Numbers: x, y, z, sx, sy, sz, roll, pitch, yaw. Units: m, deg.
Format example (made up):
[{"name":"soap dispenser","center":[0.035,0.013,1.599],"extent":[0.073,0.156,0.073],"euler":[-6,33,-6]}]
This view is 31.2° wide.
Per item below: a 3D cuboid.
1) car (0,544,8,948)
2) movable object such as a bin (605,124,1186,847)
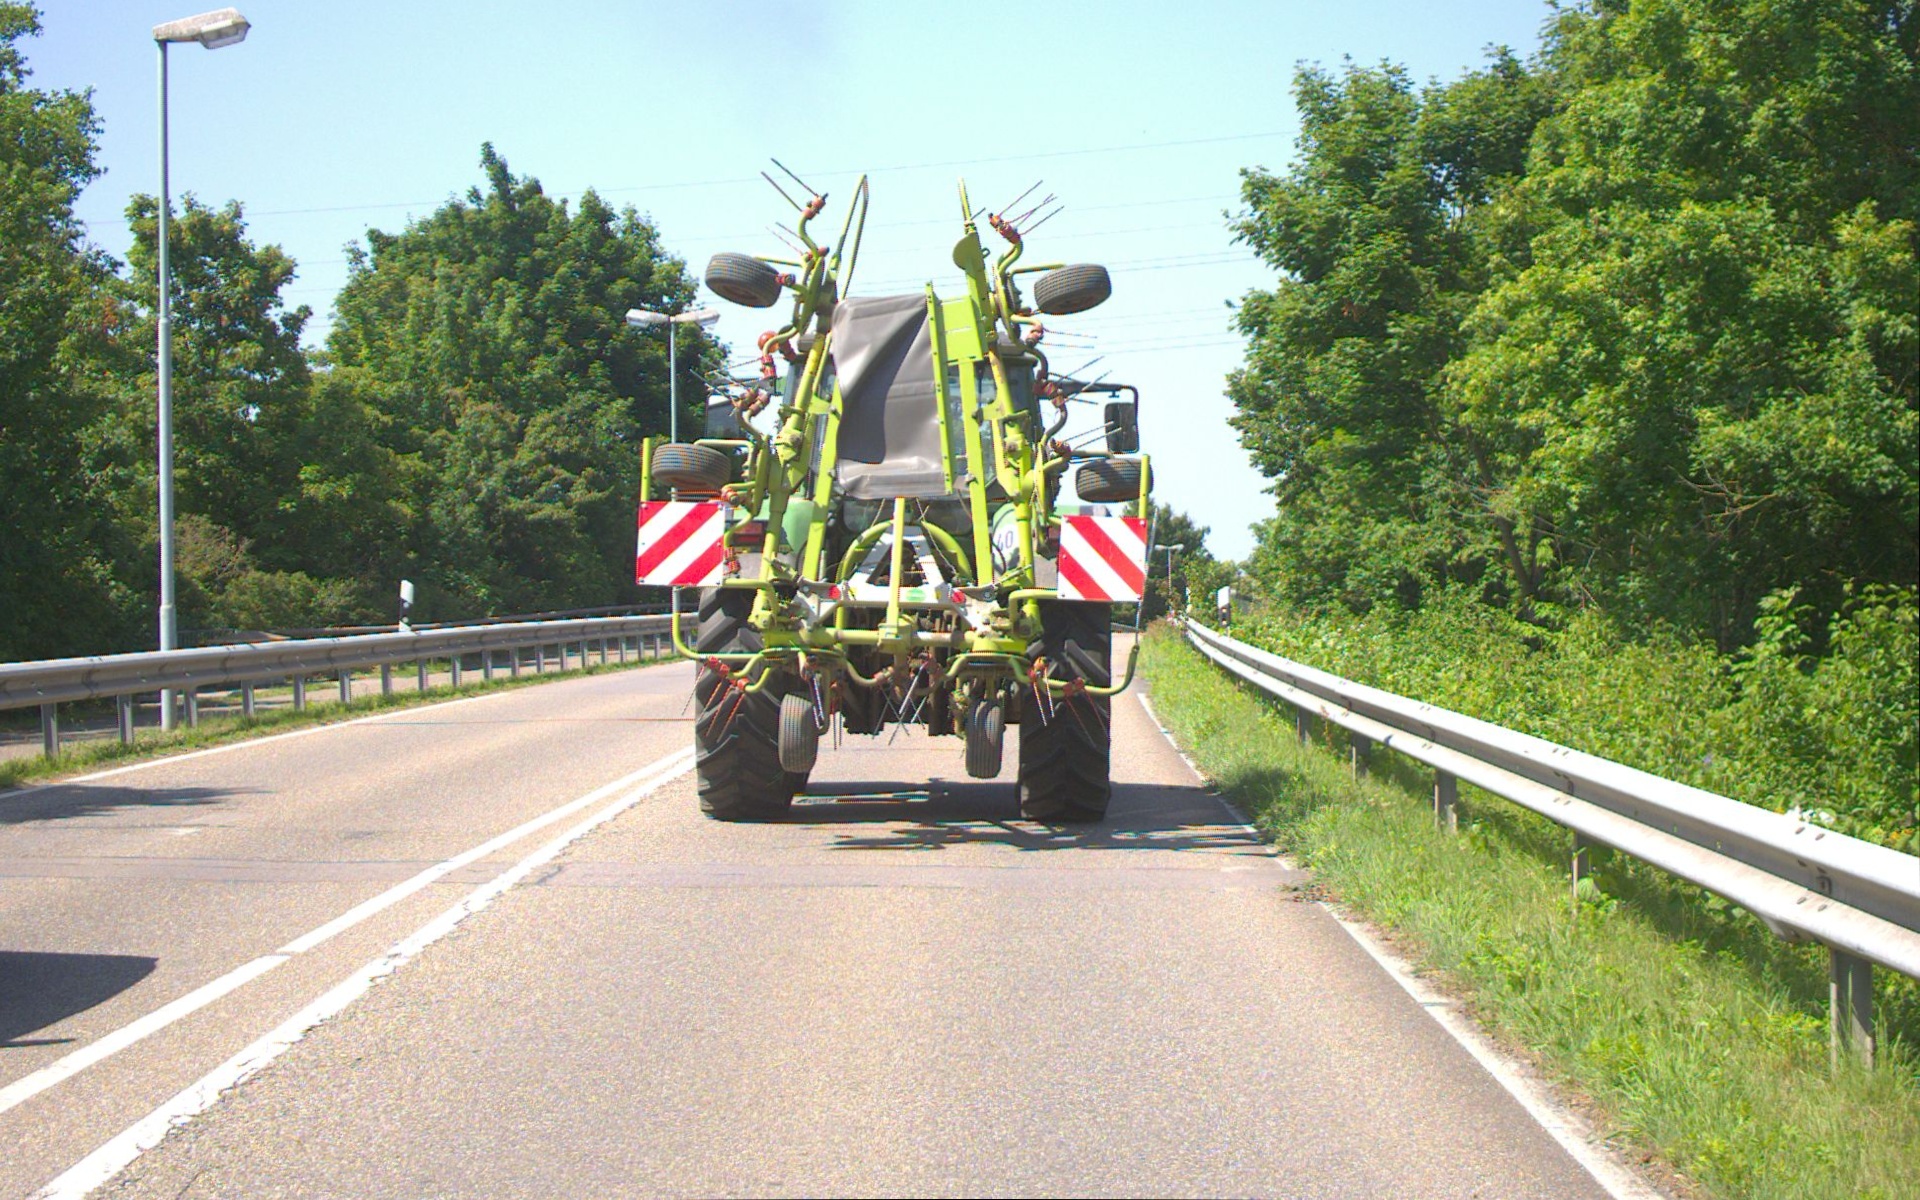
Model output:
[{"name":"car","center":[-4.316,0.557,10.474],"extent":[1.739,1.451,3.889],"euler":[0,1,0]},{"name":"movable object such as a bin","center":[-0.369,-0.584,19.204],"extent":[2.755,3.432,5.670],"euler":[0,1,-1]}]
